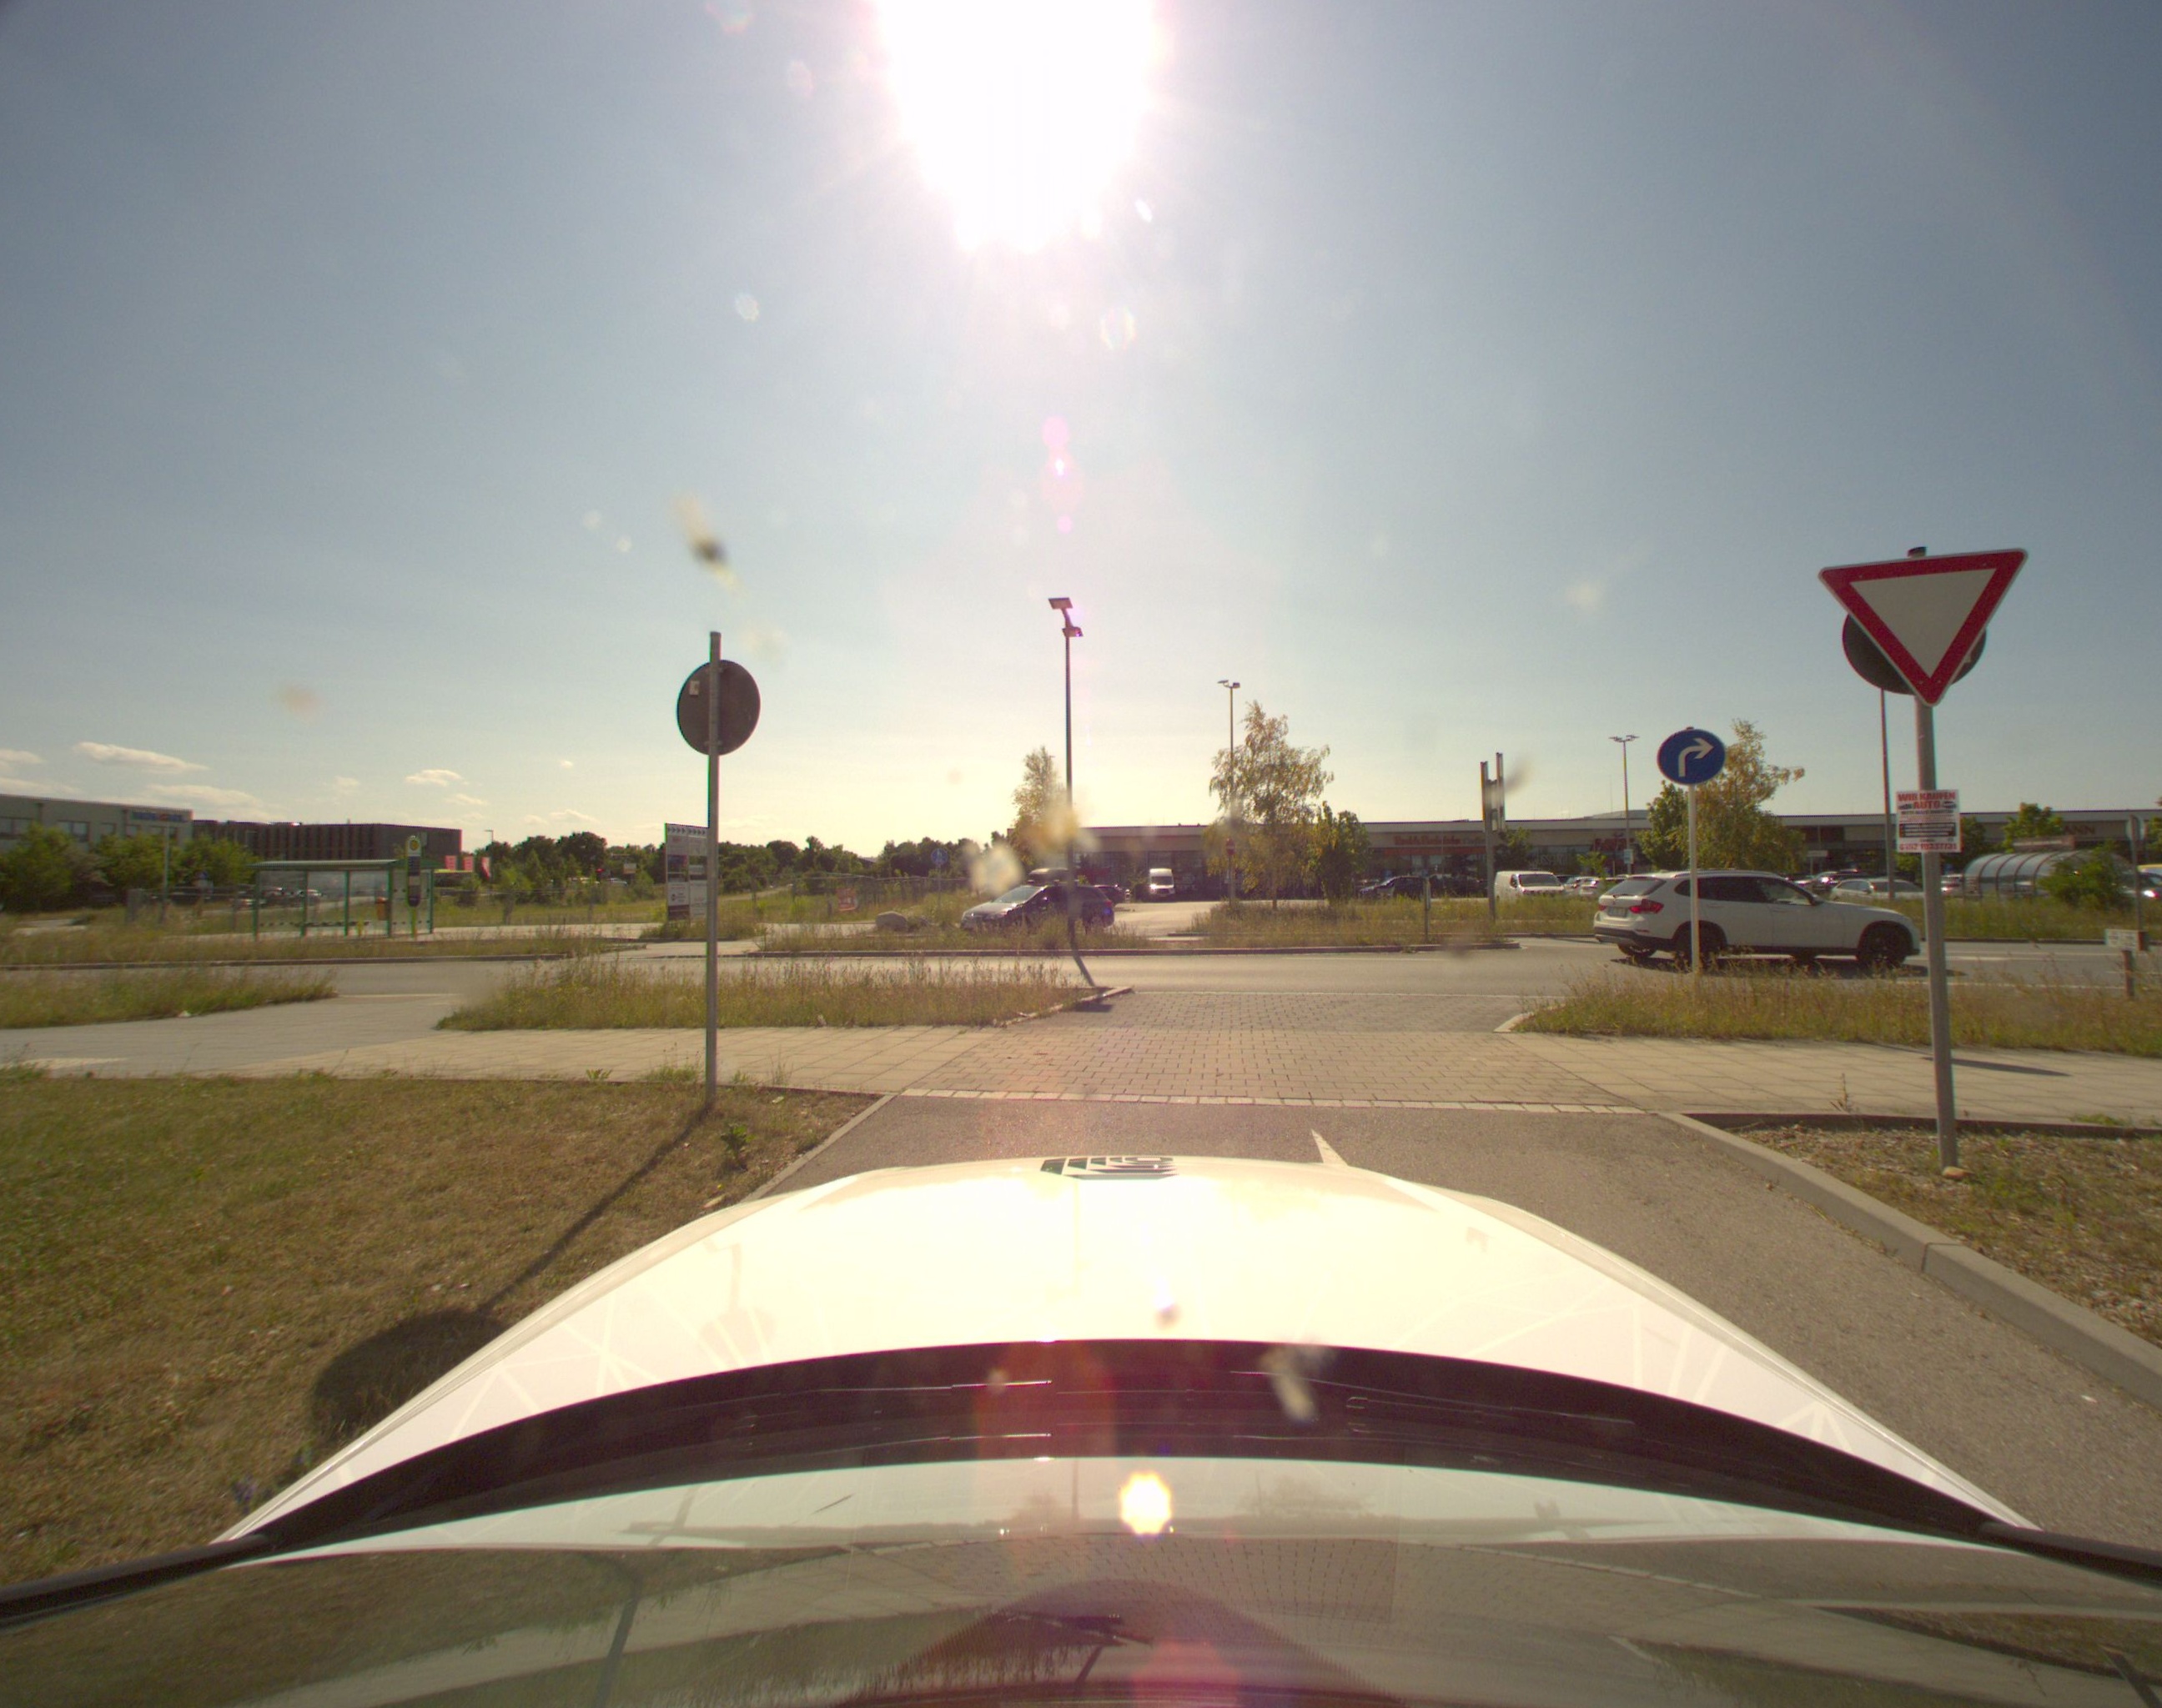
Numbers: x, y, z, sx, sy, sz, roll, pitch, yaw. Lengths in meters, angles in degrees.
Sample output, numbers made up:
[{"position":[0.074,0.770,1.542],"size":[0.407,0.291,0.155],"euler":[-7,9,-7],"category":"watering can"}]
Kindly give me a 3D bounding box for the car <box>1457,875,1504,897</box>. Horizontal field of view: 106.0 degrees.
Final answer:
[{"position":[31.174,2.485,63.709],"size":[1.984,1.707,4.005],"euler":[-1,-2,5],"category":"car"}]

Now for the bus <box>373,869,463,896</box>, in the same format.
[{"position":[-73.372,3.136,90.512],"size":[2.573,2.735,11.522],"euler":[0,-2,-11],"category":"bus"}]

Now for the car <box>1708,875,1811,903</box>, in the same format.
[{"position":[37.220,1.923,44.754],"size":[3.965,1.508,1.878],"euler":[0,-3,7],"category":"car"}]

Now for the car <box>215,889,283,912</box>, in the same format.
[{"position":[-70.451,3.934,69.062],"size":[1.820,1.860,3.989],"euler":[0,-2,-7],"category":"car"}]

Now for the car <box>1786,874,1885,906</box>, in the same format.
[{"position":[50.646,2.433,54.754],"size":[4.442,2.123,2.005],"euler":[0,-3,10],"category":"car"}]

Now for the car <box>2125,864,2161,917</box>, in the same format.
[{"position":[41.639,1.324,29.668],"size":[2.138,2.014,5.143],"euler":[-1,-2,23],"category":"car"}]

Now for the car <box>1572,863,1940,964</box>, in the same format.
[{"position":[10.995,0.952,13.544],"size":[4.535,1.551,1.743],"euler":[0,-3,4],"category":"car"}]

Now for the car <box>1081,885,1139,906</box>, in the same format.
[{"position":[1.959,2.802,55.118],"size":[3.817,1.423,1.772],"euler":[0,-3,2],"category":"car"}]

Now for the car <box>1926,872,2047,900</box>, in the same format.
[{"position":[48.876,1.732,44.051],"size":[4.312,1.520,1.659],"euler":[0,-3,7],"category":"car"}]

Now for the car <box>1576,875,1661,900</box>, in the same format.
[{"position":[31.178,1.922,47.316],"size":[3.705,1.391,1.733],"euler":[-1,-2,2],"category":"car"}]

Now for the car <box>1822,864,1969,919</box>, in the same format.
[{"position":[32.450,1.463,32.692],"size":[2.139,2.014,5.140],"euler":[-1,-2,20],"category":"car"}]

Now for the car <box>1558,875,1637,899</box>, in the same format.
[{"position":[31.859,2.027,50.295],"size":[3.705,1.391,1.733],"euler":[-1,-2,2],"category":"car"}]

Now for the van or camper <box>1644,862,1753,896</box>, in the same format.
[{"position":[37.967,1.518,50.162],"size":[5.007,2.014,2.004],"euler":[-1,-2,8],"category":"van or camper"}]

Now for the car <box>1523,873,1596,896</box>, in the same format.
[{"position":[31.247,2.000,53.283],"size":[3.705,1.391,1.733],"euler":[-1,-2,2],"category":"car"}]

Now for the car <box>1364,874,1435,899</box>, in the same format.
[{"position":[20.007,2.045,51.266],"size":[3.774,1.509,1.734],"euler":[-1,-2,6],"category":"car"}]

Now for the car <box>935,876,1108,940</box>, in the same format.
[{"position":[-1.501,1.369,21.526],"size":[4.218,1.517,1.976],"euler":[2,-3,-42],"category":"car"}]

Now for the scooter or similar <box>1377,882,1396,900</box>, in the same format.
[{"position":[18.632,2.239,49.718],"size":[0.937,1.079,0.654],"euler":[-1,-2,10],"category":"scooter or similar"}]

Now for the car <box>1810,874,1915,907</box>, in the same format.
[{"position":[49.929,2.333,52.094],"size":[4.442,2.103,2.005],"euler":[0,-3,10],"category":"car"}]

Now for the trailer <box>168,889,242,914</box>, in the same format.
[{"position":[-70.032,3.771,65.187],"size":[1.820,1.860,3.989],"euler":[0,-2,-7],"category":"trailer"}]

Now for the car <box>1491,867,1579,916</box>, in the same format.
[{"position":[19.980,1.621,36.135],"size":[2.066,2.014,5.247],"euler":[-1,-2,14],"category":"car"}]

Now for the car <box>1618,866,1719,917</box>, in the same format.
[{"position":[25.015,1.566,34.902],"size":[2.139,2.014,5.140],"euler":[-1,-2,20],"category":"car"}]

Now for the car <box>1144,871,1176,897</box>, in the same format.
[{"position":[6.364,2.421,66.427],"size":[2.214,1.977,6.698],"euler":[-1,-2,2],"category":"car"}]
